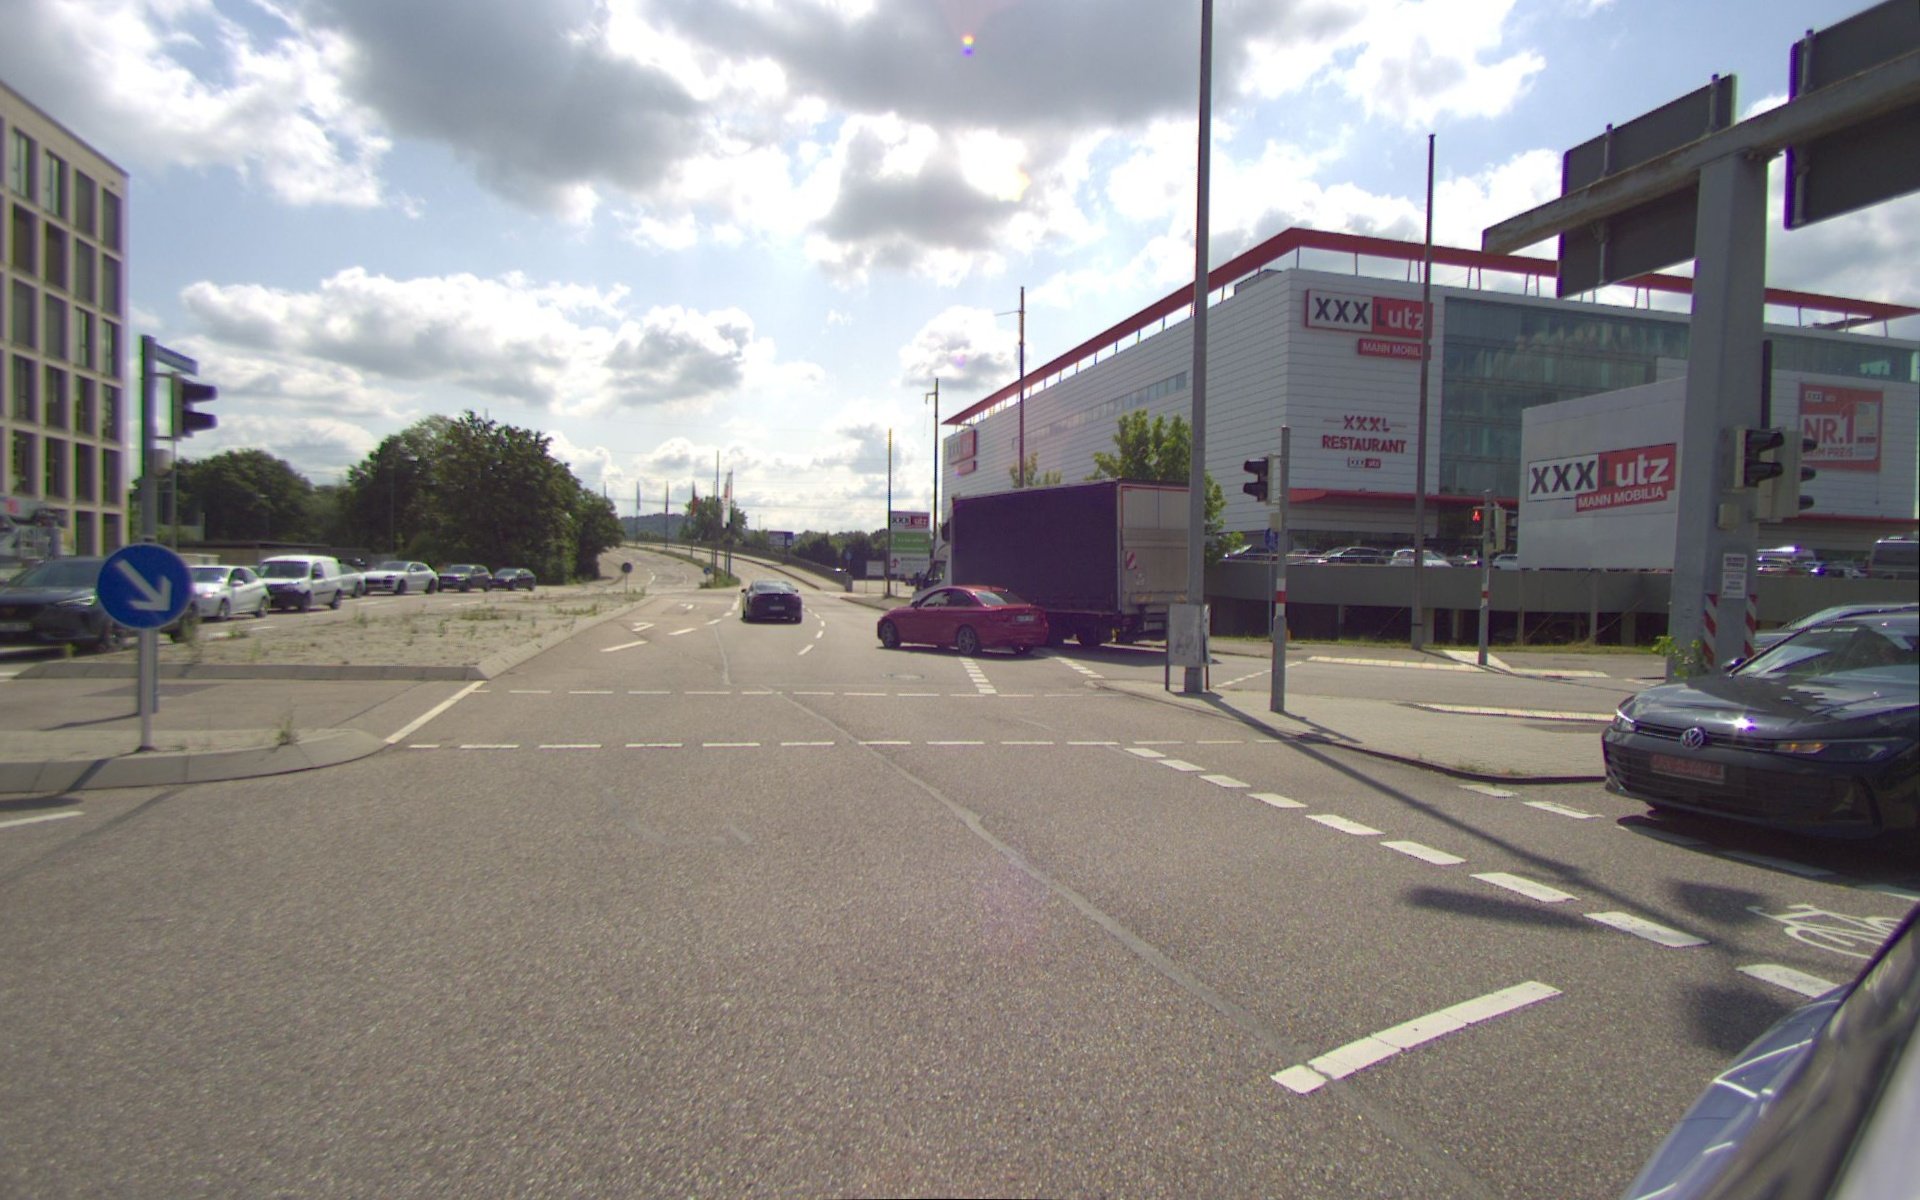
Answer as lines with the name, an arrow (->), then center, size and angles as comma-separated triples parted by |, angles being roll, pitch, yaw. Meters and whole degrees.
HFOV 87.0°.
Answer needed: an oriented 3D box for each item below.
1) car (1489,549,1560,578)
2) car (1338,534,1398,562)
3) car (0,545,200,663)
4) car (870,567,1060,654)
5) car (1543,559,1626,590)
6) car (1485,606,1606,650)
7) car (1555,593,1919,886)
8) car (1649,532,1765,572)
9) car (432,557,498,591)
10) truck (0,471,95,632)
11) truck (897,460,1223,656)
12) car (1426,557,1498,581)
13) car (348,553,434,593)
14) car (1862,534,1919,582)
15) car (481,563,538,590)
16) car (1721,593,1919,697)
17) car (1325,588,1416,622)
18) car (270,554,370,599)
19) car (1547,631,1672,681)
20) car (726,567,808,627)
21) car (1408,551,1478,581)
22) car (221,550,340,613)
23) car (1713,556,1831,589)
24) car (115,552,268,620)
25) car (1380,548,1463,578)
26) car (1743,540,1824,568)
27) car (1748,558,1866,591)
car -> 37.308, -2.402, 66.966 | 1.876, 1.772, 4.008 | 0, 0, -14
car -> 29.321, -3.689, 72.855 | 1.527, 1.846, 4.433 | 0, 1, -16
car -> -13.991, 0.054, 16.168 | 1.789, 1.647, 4.220 | 0, 0, -20
car -> 0.013, 0.199, 21.814 | 1.832, 1.676, 4.213 | 0, 0, -40
car -> 37.069, -1.477, 60.159 | 1.876, 1.772, 4.008 | 0, 0, -14
car -> 24.544, 1.147, 42.475 | 4.271, 1.772, 2.004 | 0, 0, -17
car -> 6.799, 0.726, 6.769 | 5.094, 1.496, 1.818 | 0, 0, -16
car -> 36.736, -2.315, 49.856 | 1.877, 1.772, 4.195 | 0, 0, -27
car -> -28.340, -1.449, 58.074 | 1.792, 1.861, 4.447 | 0, 0, -2
truck -> -22.674, -1.086, 21.940 | 2.619, 3.600, 9.803 | 0, 0, -20
truck -> 2.081, -0.885, 25.675 | 3.161, 4.078, 9.070 | 0, 0, -35
car -> 32.283, -1.971, 65.192 | 1.527, 1.489, 4.433 | 0, 1, -16
car -> -28.108, -1.276, 50.168 | 1.792, 1.861, 4.716 | 0, 0, -2
car -> 48.186, -2.097, 49.679 | 1.713, 2.312, 5.811 | 0, 0, -16
car -> -28.735, -1.481, 64.681 | 1.792, 1.634, 4.447 | 0, 0, -2
car -> 14.753, 0.666, 15.989 | 4.581, 1.496, 1.783 | 0, 0, -12
car -> 22.355, 0.282, 55.164 | 4.271, 1.772, 2.004 | 0, 0, -17
car -> -27.693, -0.962, 43.953 | 1.791, 1.861, 4.731 | 0, 0, -6
car -> 25.215, 2.128, 39.303 | 3.916, 1.772, 2.004 | 0, 0, -17
car -> -6.450, -0.029, 33.492 | 1.826, 1.677, 4.224 | 2, -4, -22
car -> 30.696, -2.144, 64.407 | 1.876, 1.772, 4.008 | 0, 0, -14
car -> -21.704, -0.560, 32.547 | 1.790, 1.861, 4.454 | 0, 0, -14
car -> 41.349, -1.365, 51.702 | 1.914, 1.625, 4.432 | 0, 1, -14
car -> -20.073, -0.345, 26.659 | 1.789, 1.647, 4.220 | 0, 0, -16
car -> 26.805, -2.131, 58.970 | 1.914, 1.489, 4.433 | -4, 2, -16
car -> 57.388, -3.159, 70.617 | 1.876, 1.772, 4.008 | 0, 0, -14
car -> 43.897, -1.291, 52.594 | 1.914, 1.625, 4.432 | 0, 1, -12
